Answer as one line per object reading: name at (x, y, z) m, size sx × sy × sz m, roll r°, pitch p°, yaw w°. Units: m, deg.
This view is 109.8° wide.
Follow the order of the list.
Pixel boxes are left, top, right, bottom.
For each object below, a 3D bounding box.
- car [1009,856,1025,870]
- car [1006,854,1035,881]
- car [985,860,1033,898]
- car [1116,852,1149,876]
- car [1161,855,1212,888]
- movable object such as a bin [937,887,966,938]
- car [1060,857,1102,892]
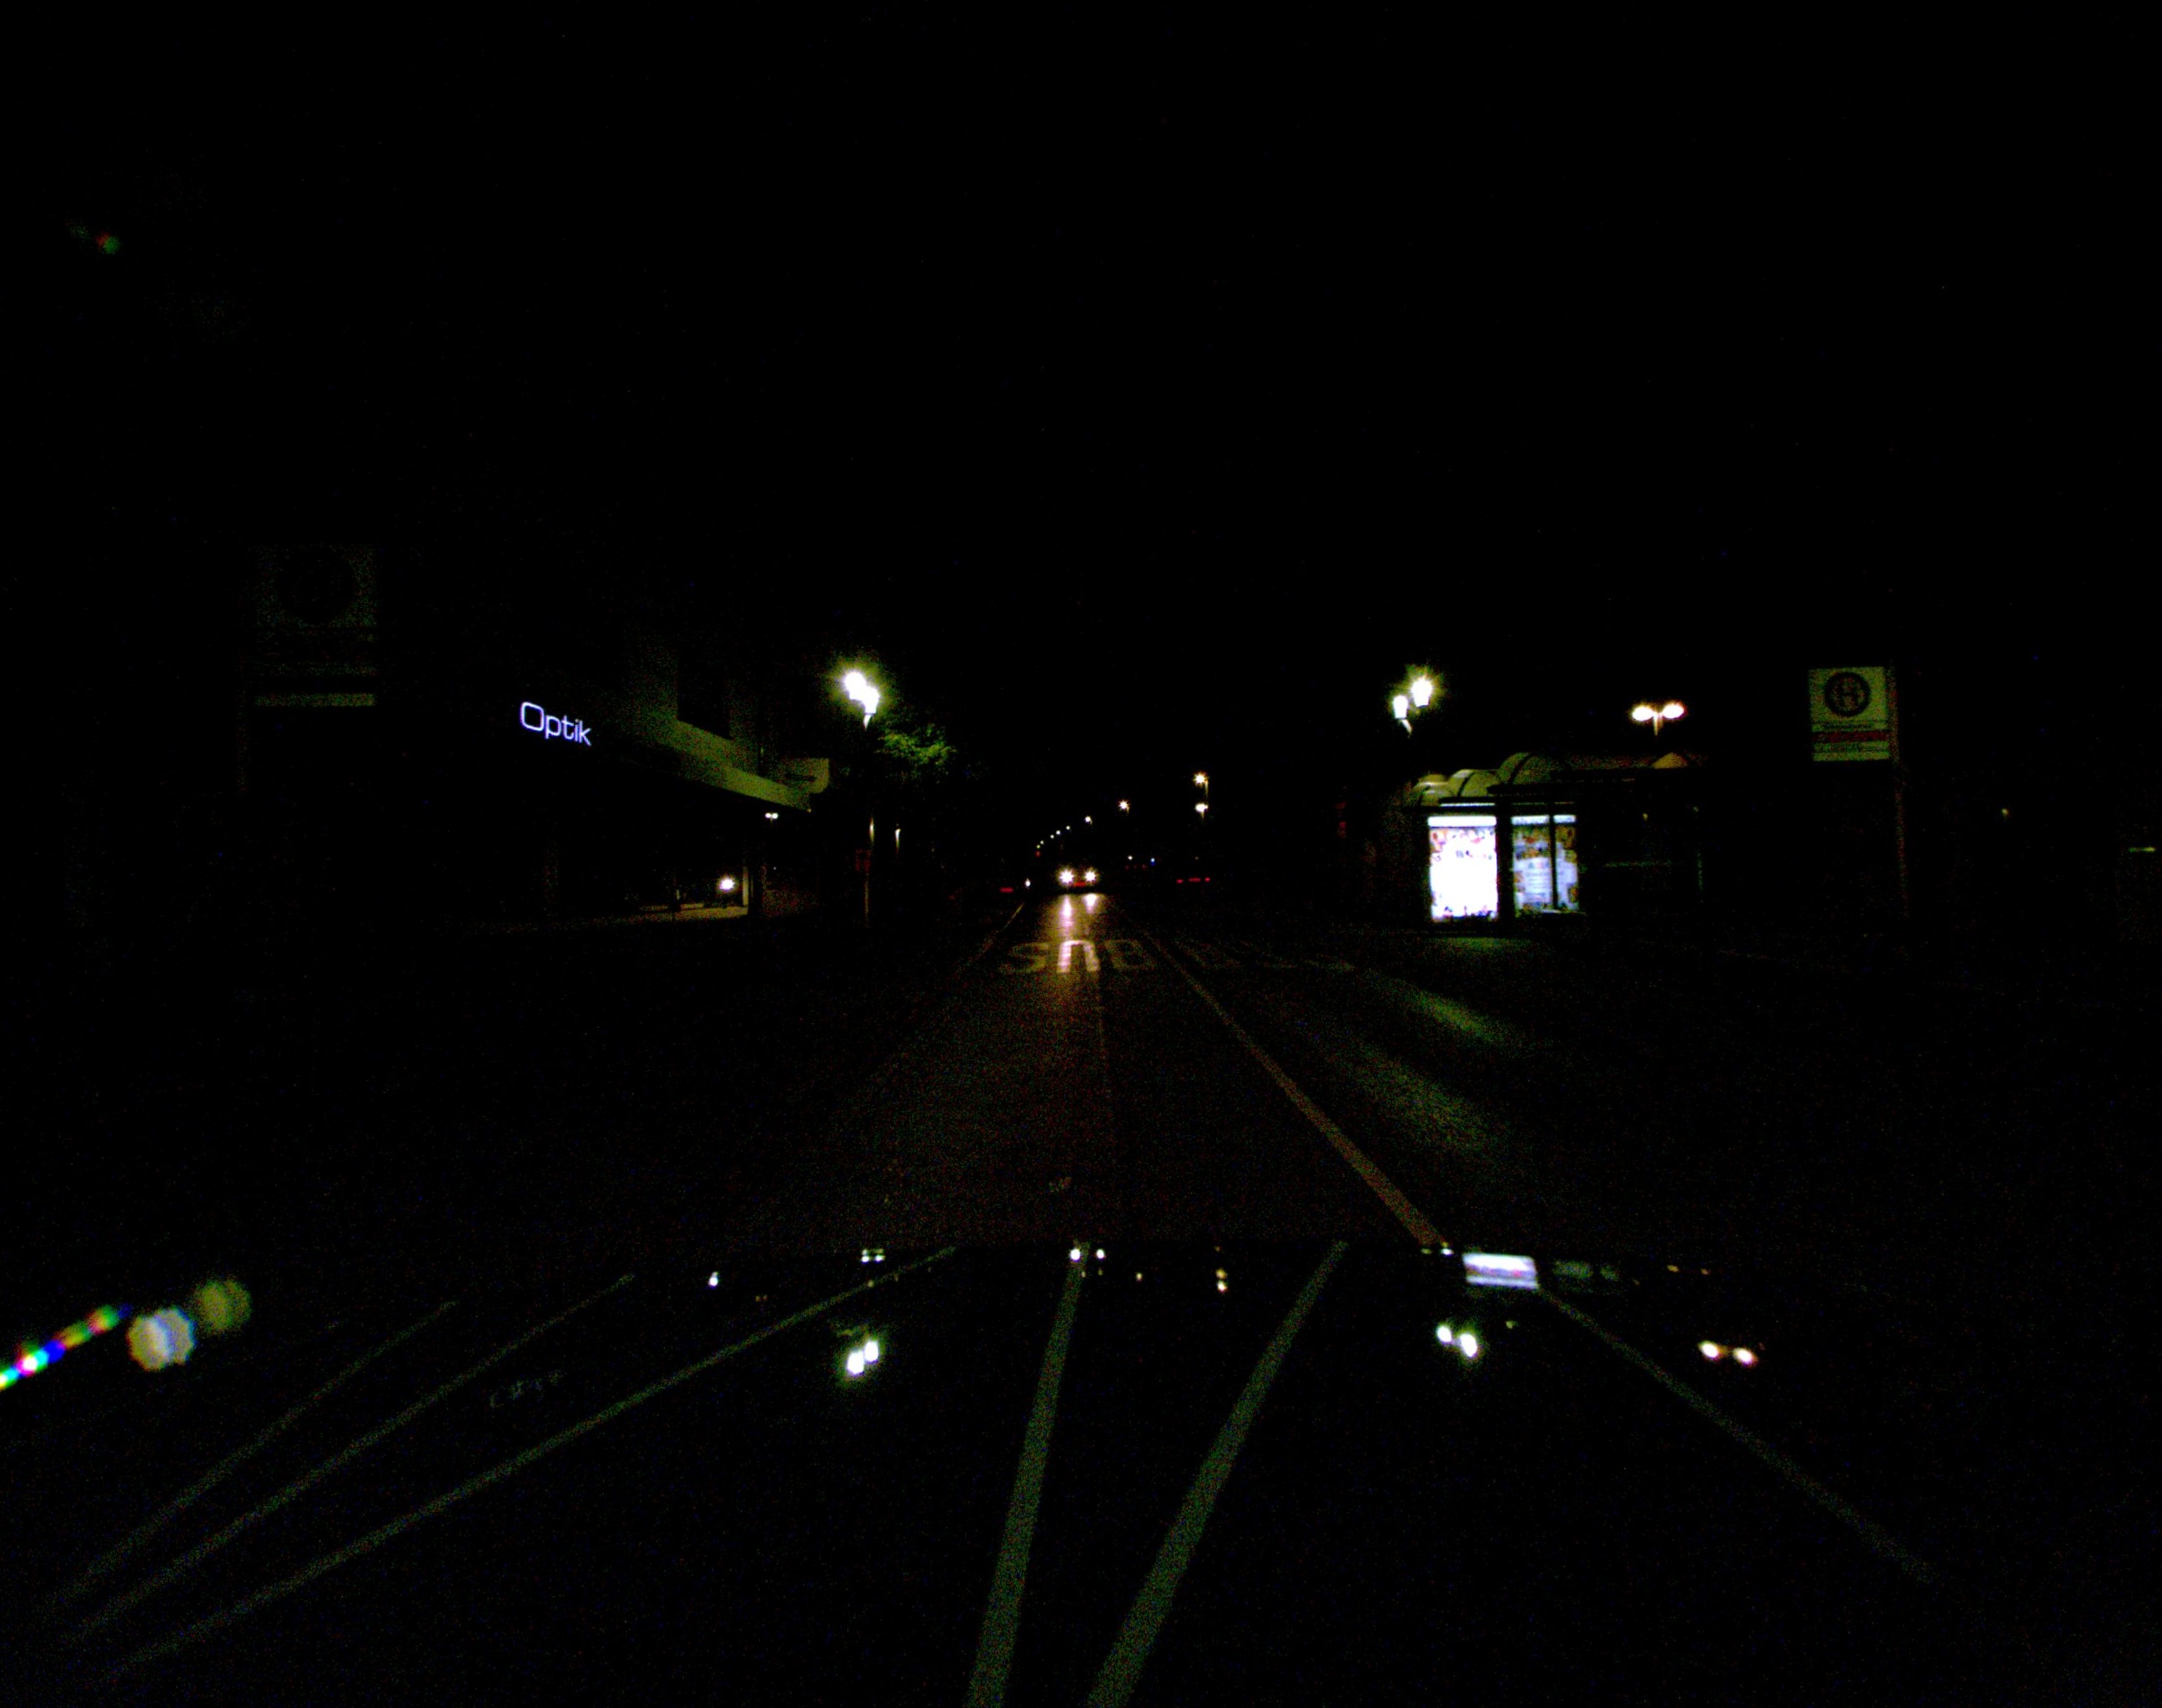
car at (-7.181, 0.985, 85.394) m, size 1.643 × 1.458 × 3.774 m, roll -3°, pitch 1°, yaw -5°
car at (-3.880, 0.863, 48.942) m, size 1.792 × 1.632 × 4.378 m, roll 0°, pitch 0°, yaw -4°
car at (-3.000, 1.014, 32.563) m, size 1.863 × 1.434 × 4.592 m, roll 0°, pitch 0°, yaw -3°
car at (3.665, 0.692, 54.351) m, size 1.697 × 1.515 × 3.688 m, roll -2°, pitch 2°, yaw -6°
car at (5.061, 0.817, 36.954) m, size 1.696 × 1.428 × 4.127 m, roll -3°, pitch 0°, yaw -2°
movable object such as a bin at (-2.598, 1.161, 15.246) m, size 0.525 × 0.932 × 0.629 m, roll -2°, pitch 2°, yaw -11°
car at (0.057, 0.932, 35.976) m, size 1.627 × 1.496 × 3.551 m, roll -2°, pitch 1°, yaw 5°
